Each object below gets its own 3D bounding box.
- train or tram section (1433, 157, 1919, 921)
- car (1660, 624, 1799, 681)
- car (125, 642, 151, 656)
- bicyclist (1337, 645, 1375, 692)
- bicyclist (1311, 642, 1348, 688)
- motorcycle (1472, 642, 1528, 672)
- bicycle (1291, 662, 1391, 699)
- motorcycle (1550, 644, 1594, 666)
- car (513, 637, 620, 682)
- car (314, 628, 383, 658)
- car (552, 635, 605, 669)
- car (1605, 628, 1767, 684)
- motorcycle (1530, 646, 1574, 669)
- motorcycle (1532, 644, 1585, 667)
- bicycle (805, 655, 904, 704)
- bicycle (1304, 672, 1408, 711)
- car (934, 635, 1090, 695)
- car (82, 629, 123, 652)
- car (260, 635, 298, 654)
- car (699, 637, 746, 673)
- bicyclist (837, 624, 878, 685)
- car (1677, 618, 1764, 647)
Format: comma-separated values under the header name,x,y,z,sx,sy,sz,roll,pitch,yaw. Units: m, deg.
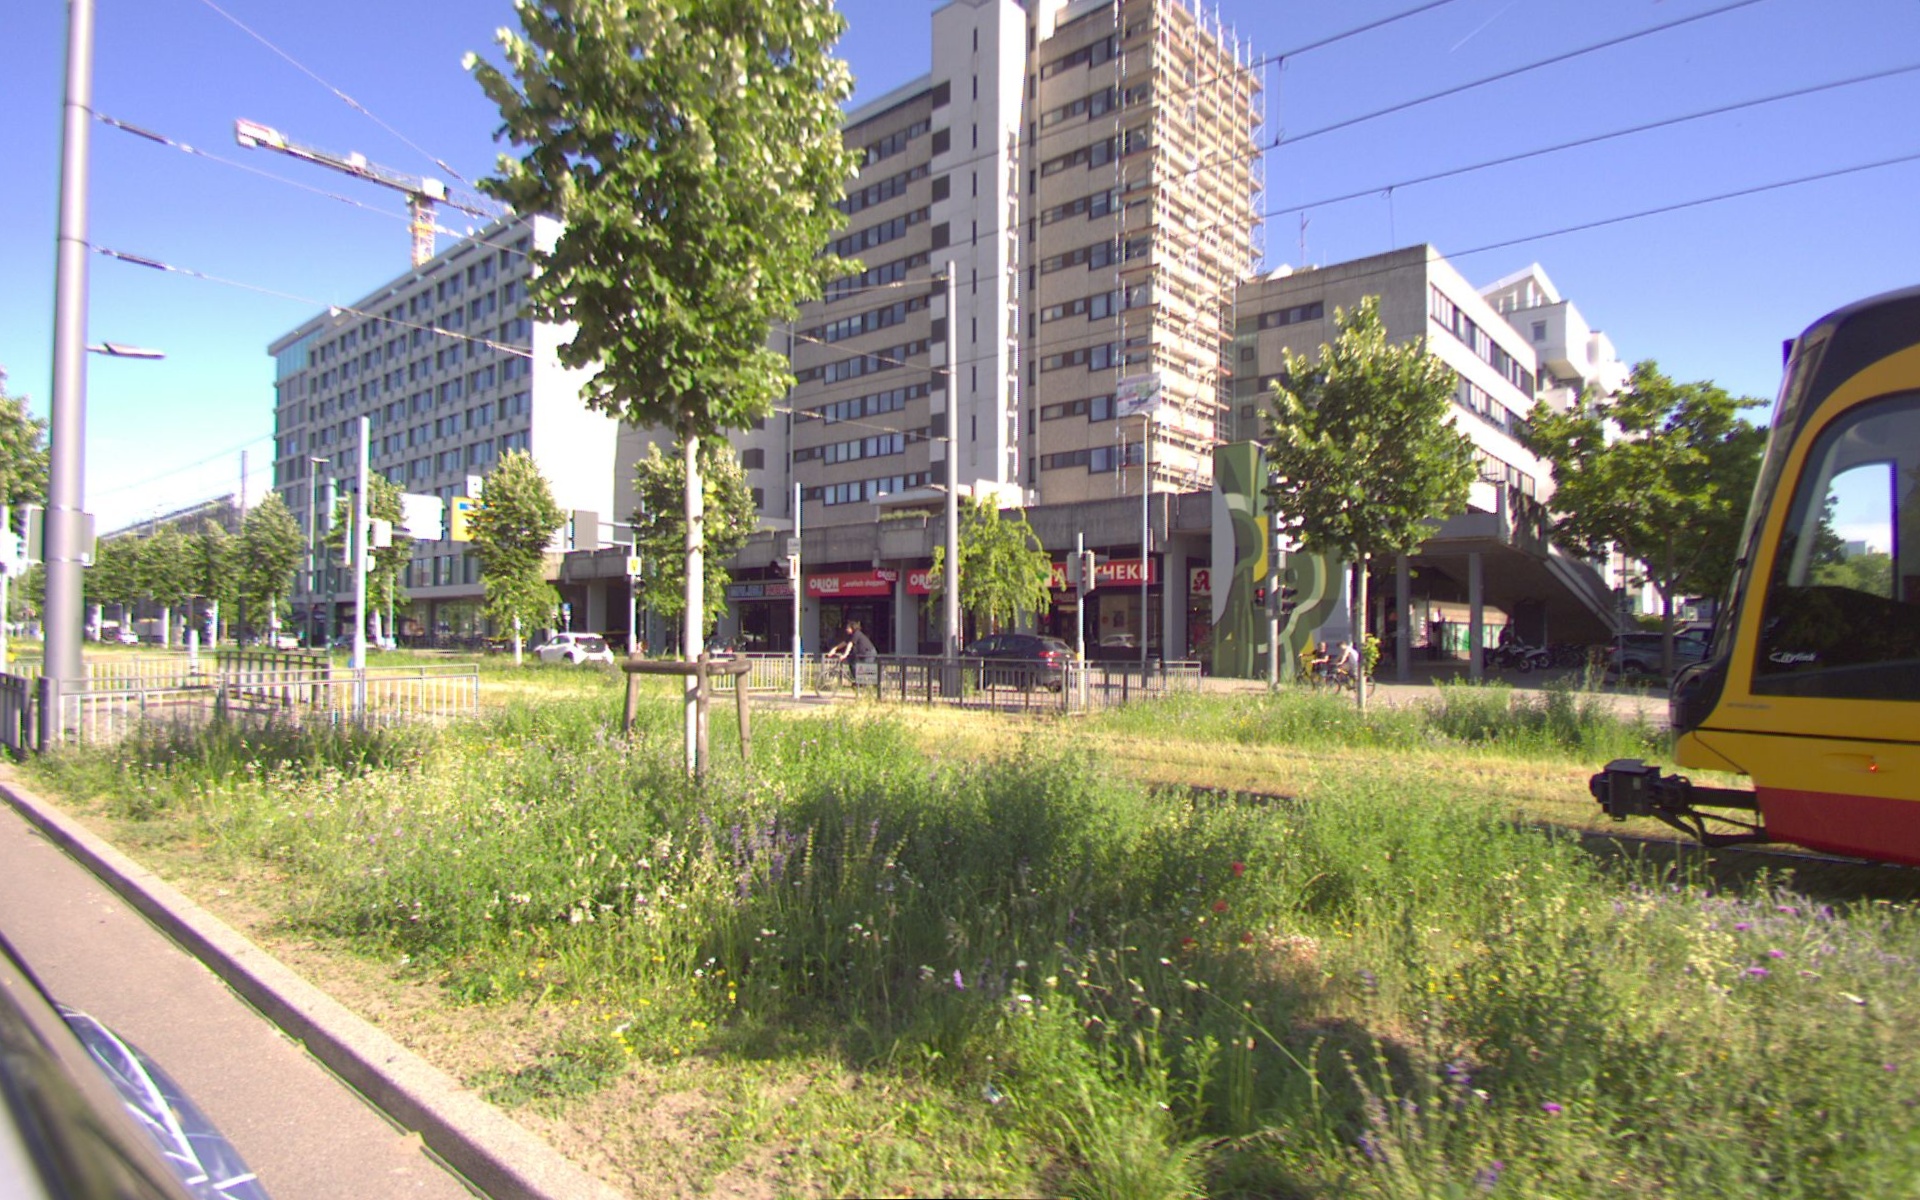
name,x,y,z,sx,sy,sz,roll,pitch,yaw
train or tram section,9.016,-0.392,2.517,14.140,3.697,1.973,-1,-1,40
car,28.649,1.903,37.811,3.994,1.985,1.975,-1,-1,38
car,-98.632,5.857,121.365,3.811,1.519,1.804,-2,-1,41
bicyclist,10.755,1.858,27.512,0.756,1.234,0.581,-1,-1,-5
bicyclist,10.367,1.816,28.399,0.756,1.234,0.581,-1,-1,-5
motorcycle,20.890,2.182,39.177,1.876,1.114,0.440,-2,-1,42
bicycle,10.690,2.242,28.425,2.633,0.958,0.563,-1,-1,-6
motorcycle,28.520,2.554,47.208,1.695,0.968,0.391,-2,-1,42
car,-15.427,2.275,39.602,4.502,1.590,1.974,-1,-1,39
car,-34.663,2.418,57.316,4.502,1.590,1.974,-1,-1,39
car,-21.051,2.844,55.977,1.768,1.697,4.005,-1,-1,-6
car,23.051,1.724,32.189,3.998,1.652,1.972,-2,-1,41
motorcycle,25.618,2.478,43.811,1.617,0.968,0.365,-2,-1,42
motorcycle,26.684,2.464,45.130,1.947,0.968,0.447,-2,-1,42
bicycle,-2.202,1.664,21.243,1.991,0.958,0.562,-1,-1,5
bicycle,10.759,2.475,27.504,2.633,0.958,0.563,-1,-1,-6
car,1.463,1.845,29.215,4.102,1.590,1.974,-1,-5,39
car,-71.167,3.349,83.973,4.284,1.833,1.972,-2,-1,42
car,-59.011,3.852,87.696,3.770,1.561,1.841,-2,-1,41
car,-11.335,2.593,48.476,1.691,1.531,4.005,-1,-1,-6
bicyclist,-2.152,1.138,21.240,0.758,1.234,0.579,-1,-1,5
car,44.322,1.882,59.065,3.994,1.652,1.975,-1,-1,38
